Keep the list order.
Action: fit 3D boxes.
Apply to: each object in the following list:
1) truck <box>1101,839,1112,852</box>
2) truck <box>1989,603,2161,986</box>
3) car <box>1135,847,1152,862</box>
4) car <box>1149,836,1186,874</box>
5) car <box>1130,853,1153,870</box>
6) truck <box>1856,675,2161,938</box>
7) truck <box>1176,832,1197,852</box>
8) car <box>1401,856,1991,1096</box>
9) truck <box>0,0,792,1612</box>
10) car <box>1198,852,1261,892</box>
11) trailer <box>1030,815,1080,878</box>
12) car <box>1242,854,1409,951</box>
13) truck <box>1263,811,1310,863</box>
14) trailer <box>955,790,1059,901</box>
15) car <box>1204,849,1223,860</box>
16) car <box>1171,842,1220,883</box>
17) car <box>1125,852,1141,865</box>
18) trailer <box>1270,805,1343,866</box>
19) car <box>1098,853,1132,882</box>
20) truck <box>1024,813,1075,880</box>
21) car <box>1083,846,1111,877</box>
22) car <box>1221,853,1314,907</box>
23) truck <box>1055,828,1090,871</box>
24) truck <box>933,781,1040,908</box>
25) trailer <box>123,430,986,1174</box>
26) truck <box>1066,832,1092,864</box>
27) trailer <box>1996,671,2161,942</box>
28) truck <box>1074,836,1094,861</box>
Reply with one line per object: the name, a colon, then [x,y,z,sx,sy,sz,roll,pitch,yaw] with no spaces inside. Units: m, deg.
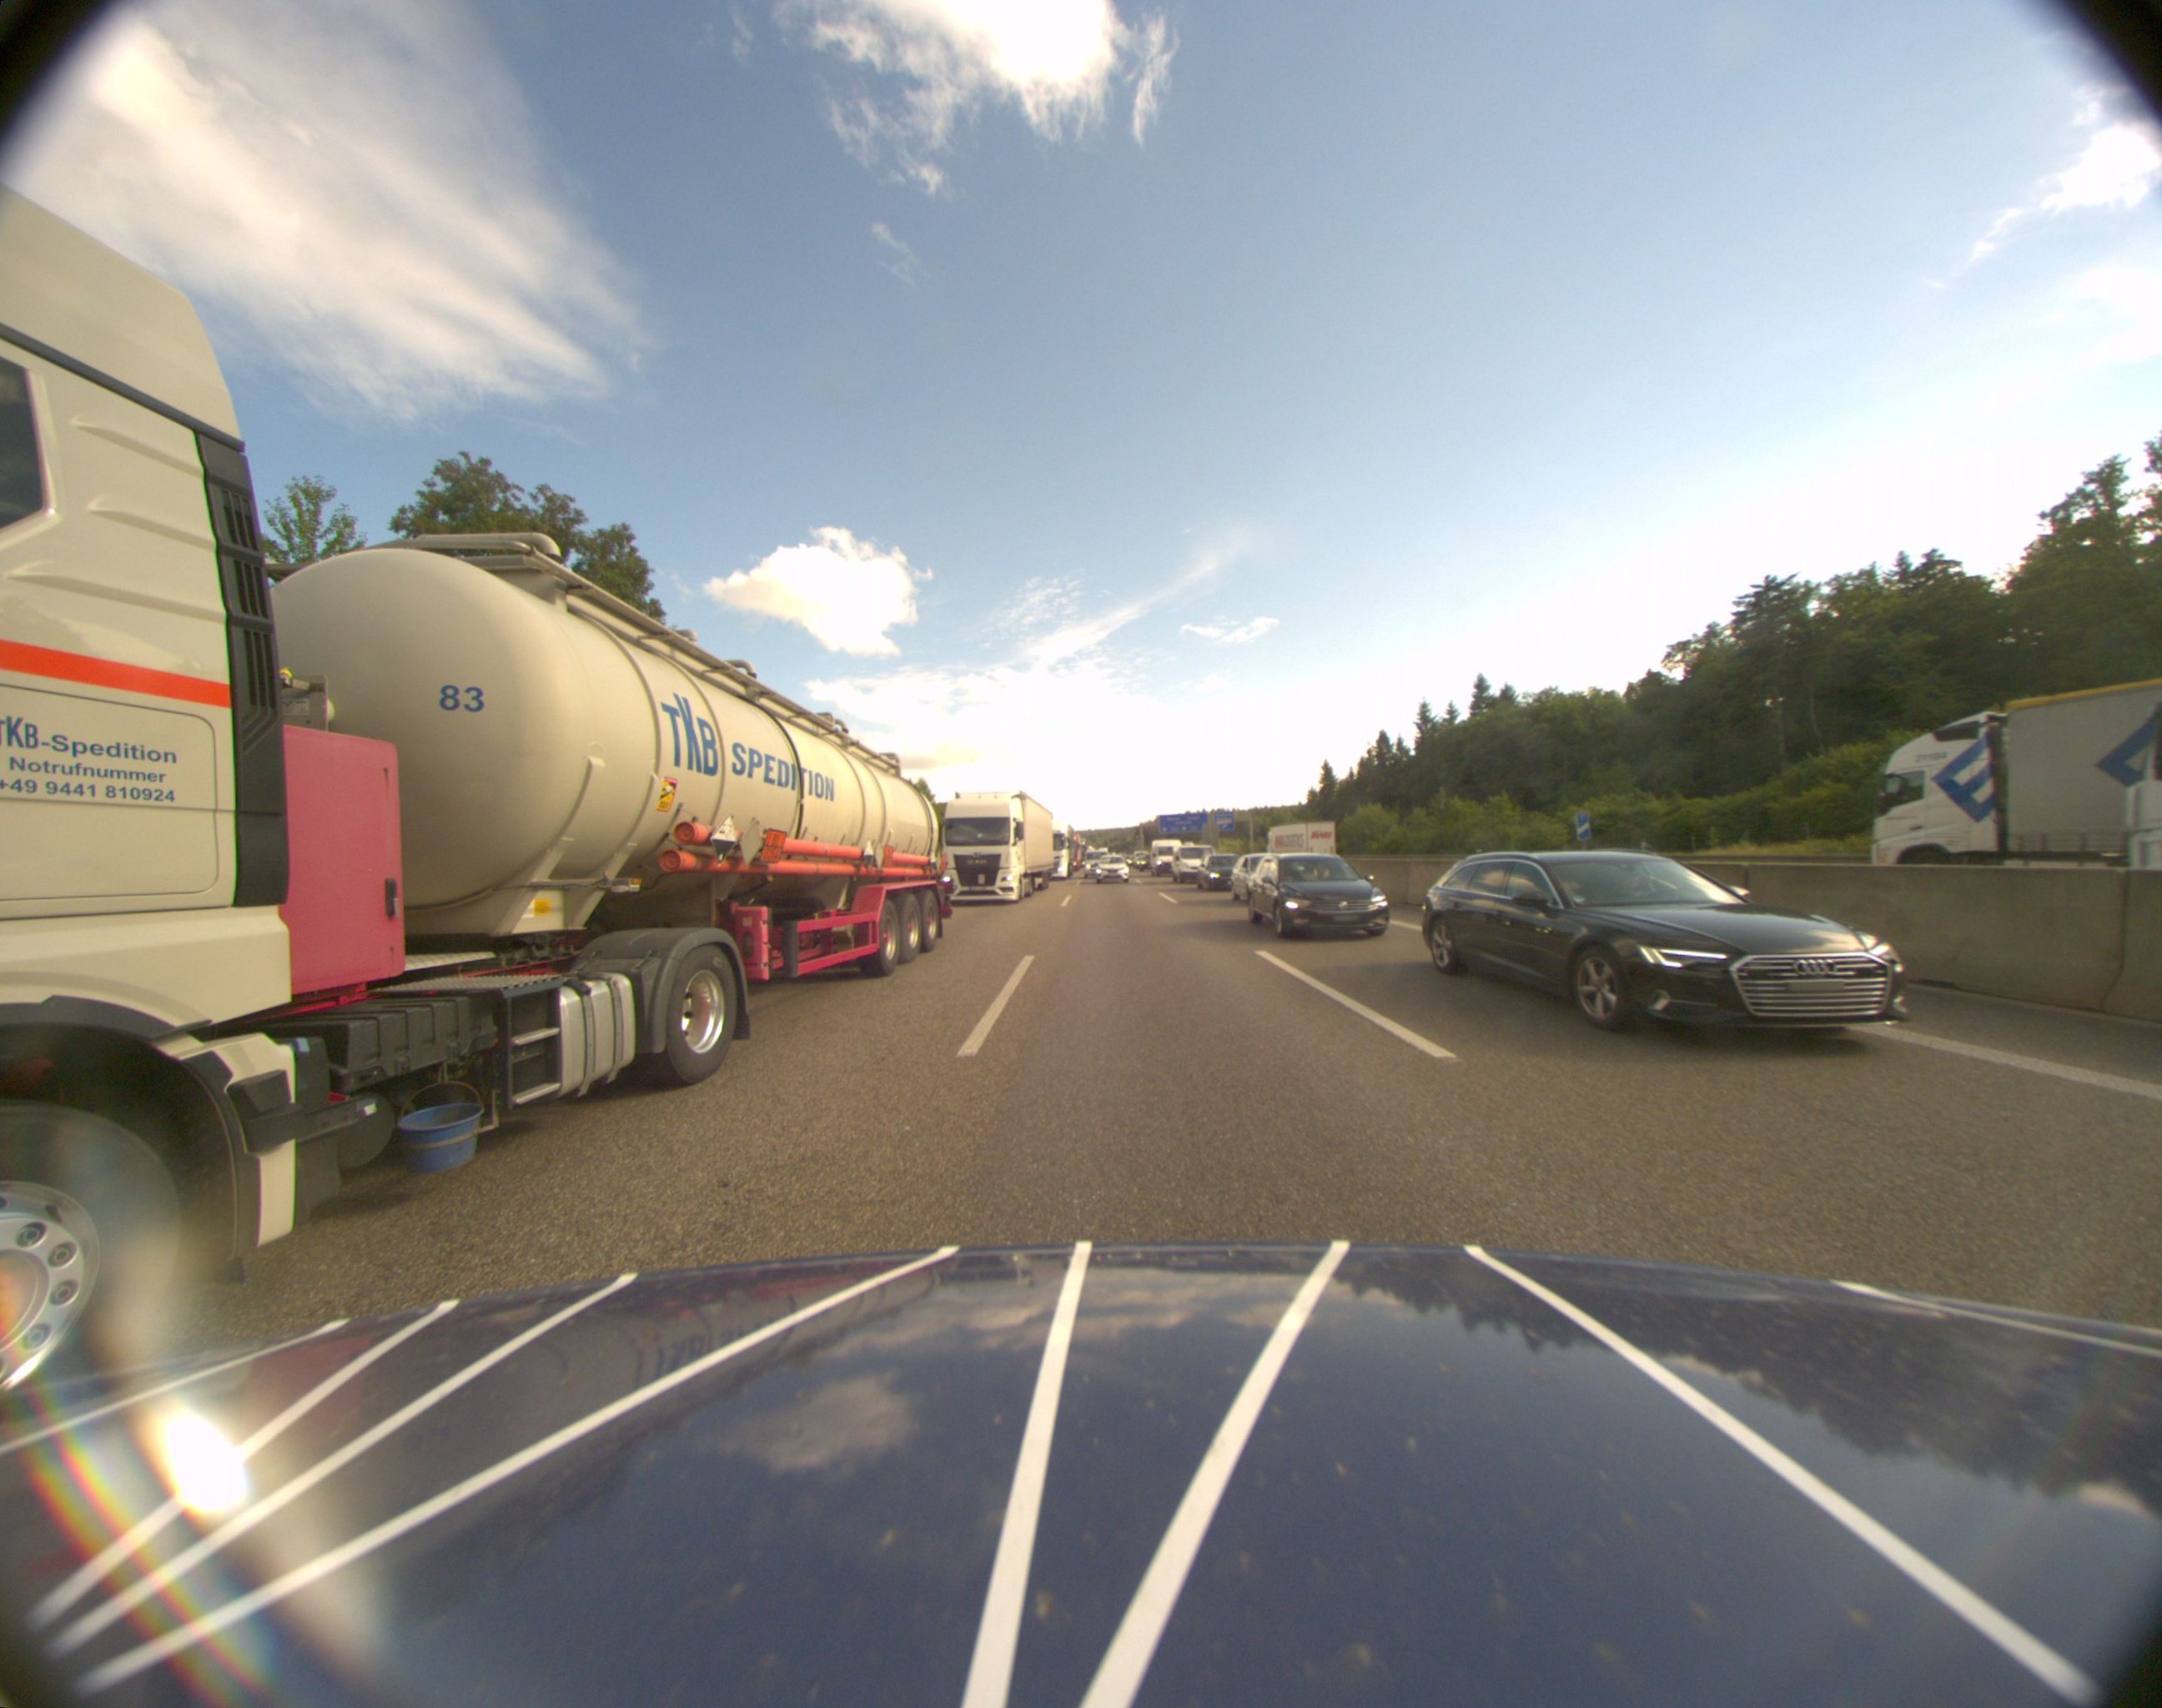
truck: [8.363,-2.797,247.733,2.840,4.178,12.046,-2,1,3]
truck: [15.825,-0.807,8.381,3.096,5.072,7.140,-2,1,1]
car: [7.758,0.057,94.819,1.920,1.785,3.811,-2,0,2]
car: [6.048,0.056,53.704,2.054,2.557,5.861,-1,0,2]
car: [5.342,0.663,67.190,1.809,1.423,3.660,-2,0,2]
truck: [20.671,-0.947,16.424,2.939,4.831,4.765,-2,1,1]
truck: [24.254,-2.680,175.085,2.939,4.329,13.909,-2,1,1]
car: [5.001,0.807,7.352,1.887,1.463,4.852,-2,0,2]
truck: [-3.886,-0.240,3.111,2.809,4.020,5.904,-2,1,2]
car: [5.894,0.680,30.608,1.809,1.423,3.994,-2,0,2]
trailer: [-1.808,-0.537,59.095,2.841,4.177,13.614,-2,0,2]
car: [4.360,0.780,14.372,1.915,1.469,4.569,-2,0,4]
truck: [21.745,-1.765,80.730,3.047,5.222,6.882,-2,1,1]
trailer: [-2.930,-0.376,34.949,2.832,4.047,13.372,-2,0,2]
car: [18.457,0.093,106.177,1.959,1.419,4.323,-2,0,1]
car: [5.968,0.394,40.118,1.947,1.953,4.848,-2,0,2]
car: [7.045,0.600,102.632,1.920,1.535,3.811,-2,0,2]
trailer: [21.659,-1.700,74.114,3.049,5.250,13.833,-2,1,1]
car: [1.929,0.735,43.899,1.809,1.488,4.666,-1,0,2]
truck: [-2.044,-0.476,51.747,2.841,4.177,5.708,-2,0,2]
car: [1.170,0.485,54.184,1.809,2.052,4.770,-2,0,2]
car: [5.652,0.731,23.568,1.809,1.423,4.666,-2,0,2]
truck: [-0.835,-0.550,83.016,2.840,4.178,12.046,-2,1,3]
truck: [-3.223,-0.322,27.563,2.840,4.048,5.708,-2,1,2]
trailer: [-3.607,-0.290,9.768,2.805,4.003,11.183,-2,0,2]
truck: [-0.182,-0.861,107.977,2.840,4.178,12.046,-2,1,3]
trailer: [20.536,-0.822,8.564,2.934,4.802,14.652,-2,1,1]
truck: [0.678,-1.040,136.301,2.840,4.178,12.046,-2,1,3]
